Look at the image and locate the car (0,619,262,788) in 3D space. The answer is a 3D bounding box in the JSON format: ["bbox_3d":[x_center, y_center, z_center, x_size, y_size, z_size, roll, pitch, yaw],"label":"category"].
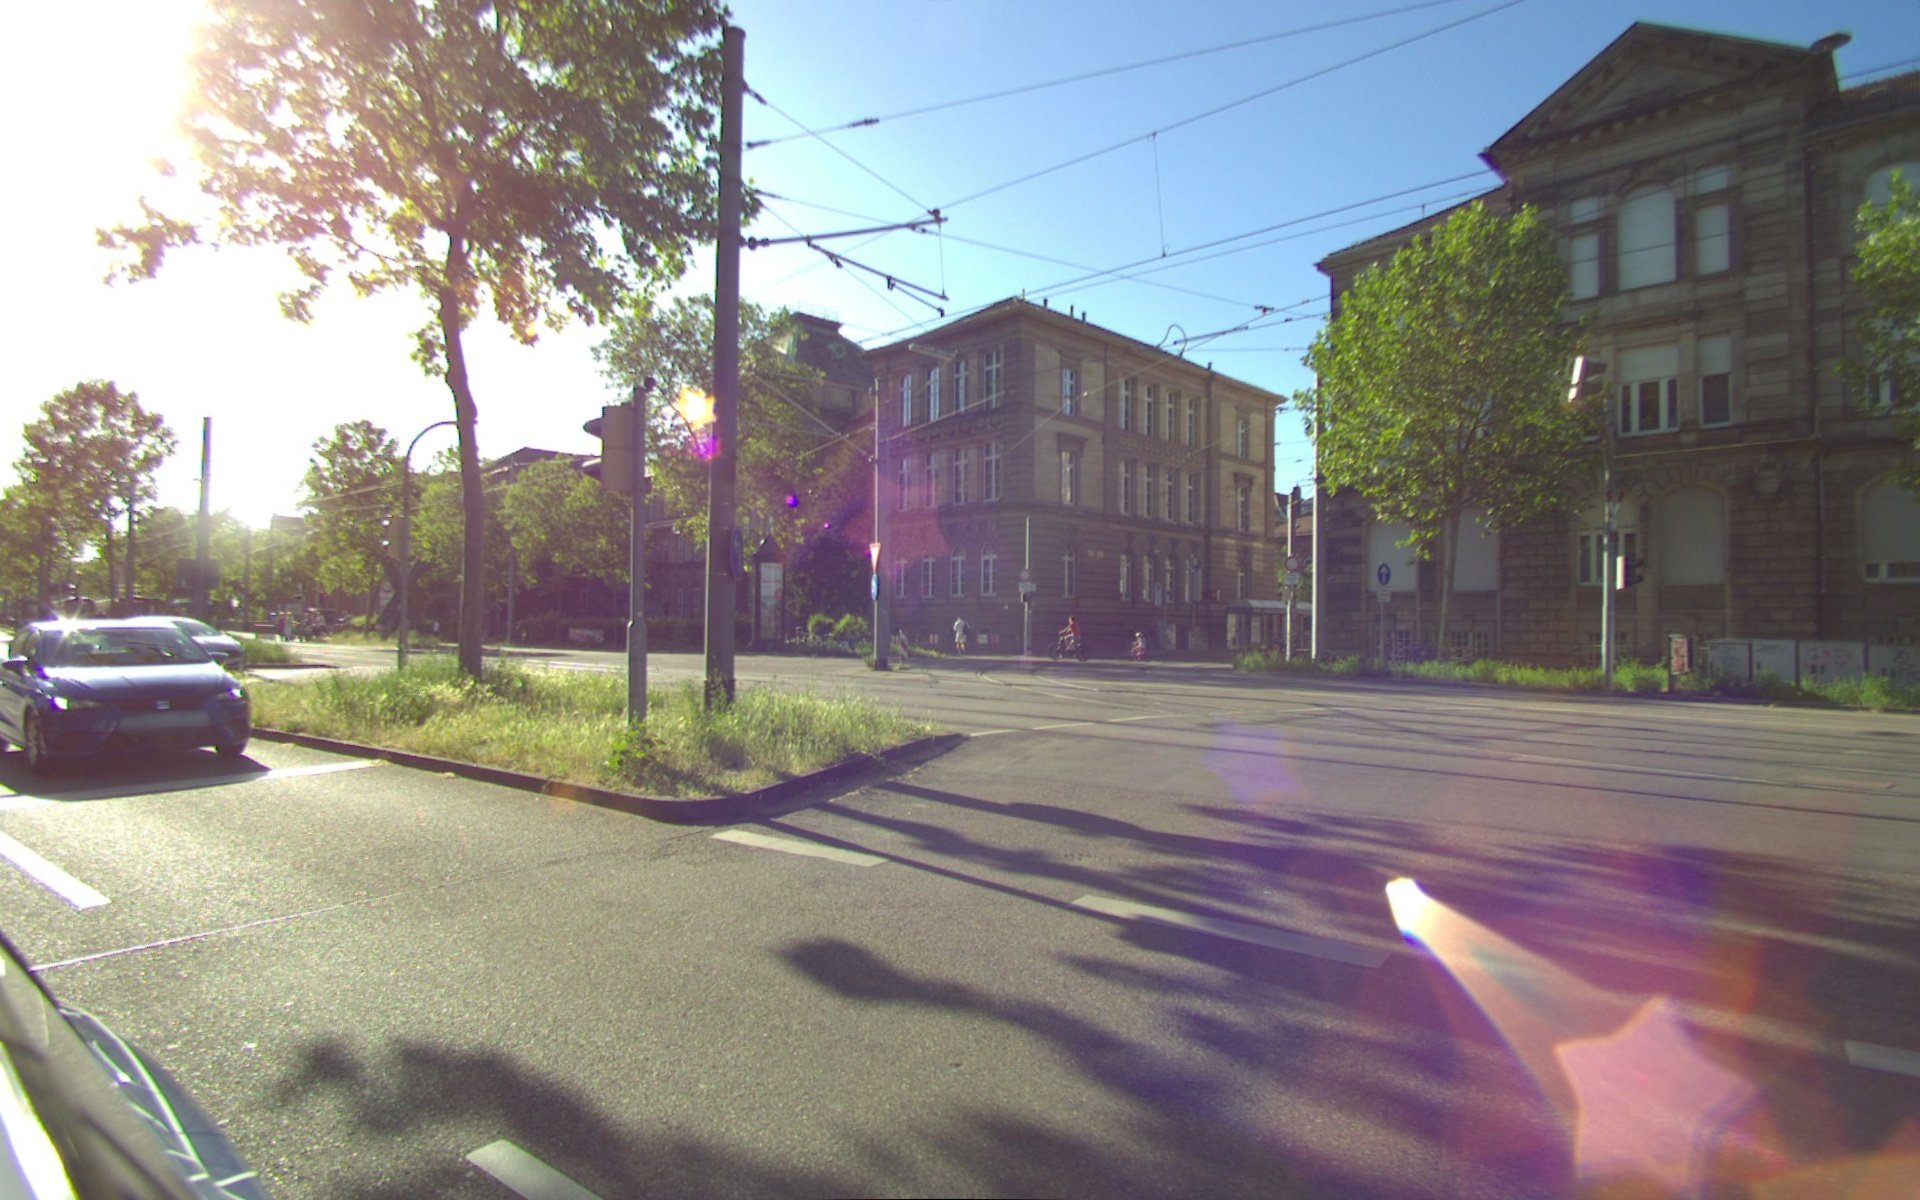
[{"bbox_3d":[-9.084,0.958,10.785,3.865,1.459,1.755,-1,-1,40],"label":"car"}]

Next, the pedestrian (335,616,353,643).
[{"bbox_3d":[-36.744,1.757,60.385,0.693,1.633,0.592,-1,0,12],"label":"pedestrian"}]

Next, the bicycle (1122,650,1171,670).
[{"bbox_3d":[7.413,2.381,40.310,1.898,0.727,0.520,-1,0,37],"label":"bicycle"}]

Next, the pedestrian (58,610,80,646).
[{"bbox_3d":[-54.190,1.690,61.574,0.773,2.204,0.803,-1,0,-25],"label":"pedestrian"}]

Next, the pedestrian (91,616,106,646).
[{"bbox_3d":[-49.129,1.782,57.711,0.571,1.674,0.668,0,0,-37],"label":"pedestrian"}]

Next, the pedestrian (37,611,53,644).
[{"bbox_3d":[-56.276,1.675,62.226,0.701,2.029,0.788,-1,0,-44],"label":"pedestrian"}]

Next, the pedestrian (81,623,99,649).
[{"bbox_3d":[-42.367,1.750,49.298,0.424,1.242,0.587,-1,0,35],"label":"pedestrian"}]

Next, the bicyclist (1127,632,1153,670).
[{"bbox_3d":[7.201,2.018,40.494,0.729,1.473,0.787,-1,0,36],"label":"bicyclist"}]

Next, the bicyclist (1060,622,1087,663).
[{"bbox_3d":[4.547,1.687,40.391,0.867,1.636,0.669,-1,-1,29],"label":"bicyclist"}]

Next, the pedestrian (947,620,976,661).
[{"bbox_3d":[0.057,1.850,46.639,0.852,1.814,1.003,-1,0,-44],"label":"pedestrian"}]

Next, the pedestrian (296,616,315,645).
[{"bbox_3d":[-38.714,1.802,59.843,0.692,1.656,0.592,-1,0,9],"label":"pedestrian"}]

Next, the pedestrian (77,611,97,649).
[{"bbox_3d":[-42.816,1.479,49.627,0.503,1.820,0.639,-1,0,35],"label":"pedestrian"}]

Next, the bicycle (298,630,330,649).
[{"bbox_3d":[-37.116,2.274,58.182,0.539,1.049,1.656,0,0,13],"label":"bicycle"}]

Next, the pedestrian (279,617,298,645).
[{"bbox_3d":[-39.954,1.840,60.227,0.693,1.689,0.592,-1,0,12],"label":"pedestrian"}]

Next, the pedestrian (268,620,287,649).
[{"bbox_3d":[-41.375,2.102,61.348,0.693,1.758,0.592,-1,0,12],"label":"pedestrian"}]

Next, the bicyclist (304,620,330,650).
[{"bbox_3d":[-36.971,2.001,58.197,0.827,1.656,0.965,-1,0,12],"label":"bicyclist"}]

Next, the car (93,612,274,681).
[{"bbox_3d":[-19.148,1.123,24.978,3.830,1.607,1.658,-1,0,17],"label":"car"}]

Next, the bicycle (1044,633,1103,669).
[{"bbox_3d":[4.530,2.010,40.358,2.344,1.400,0.521,-1,0,33],"label":"bicycle"}]

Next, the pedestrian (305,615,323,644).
[{"bbox_3d":[-38.977,1.763,61.105,0.693,1.749,0.592,-1,0,12],"label":"pedestrian"}]
